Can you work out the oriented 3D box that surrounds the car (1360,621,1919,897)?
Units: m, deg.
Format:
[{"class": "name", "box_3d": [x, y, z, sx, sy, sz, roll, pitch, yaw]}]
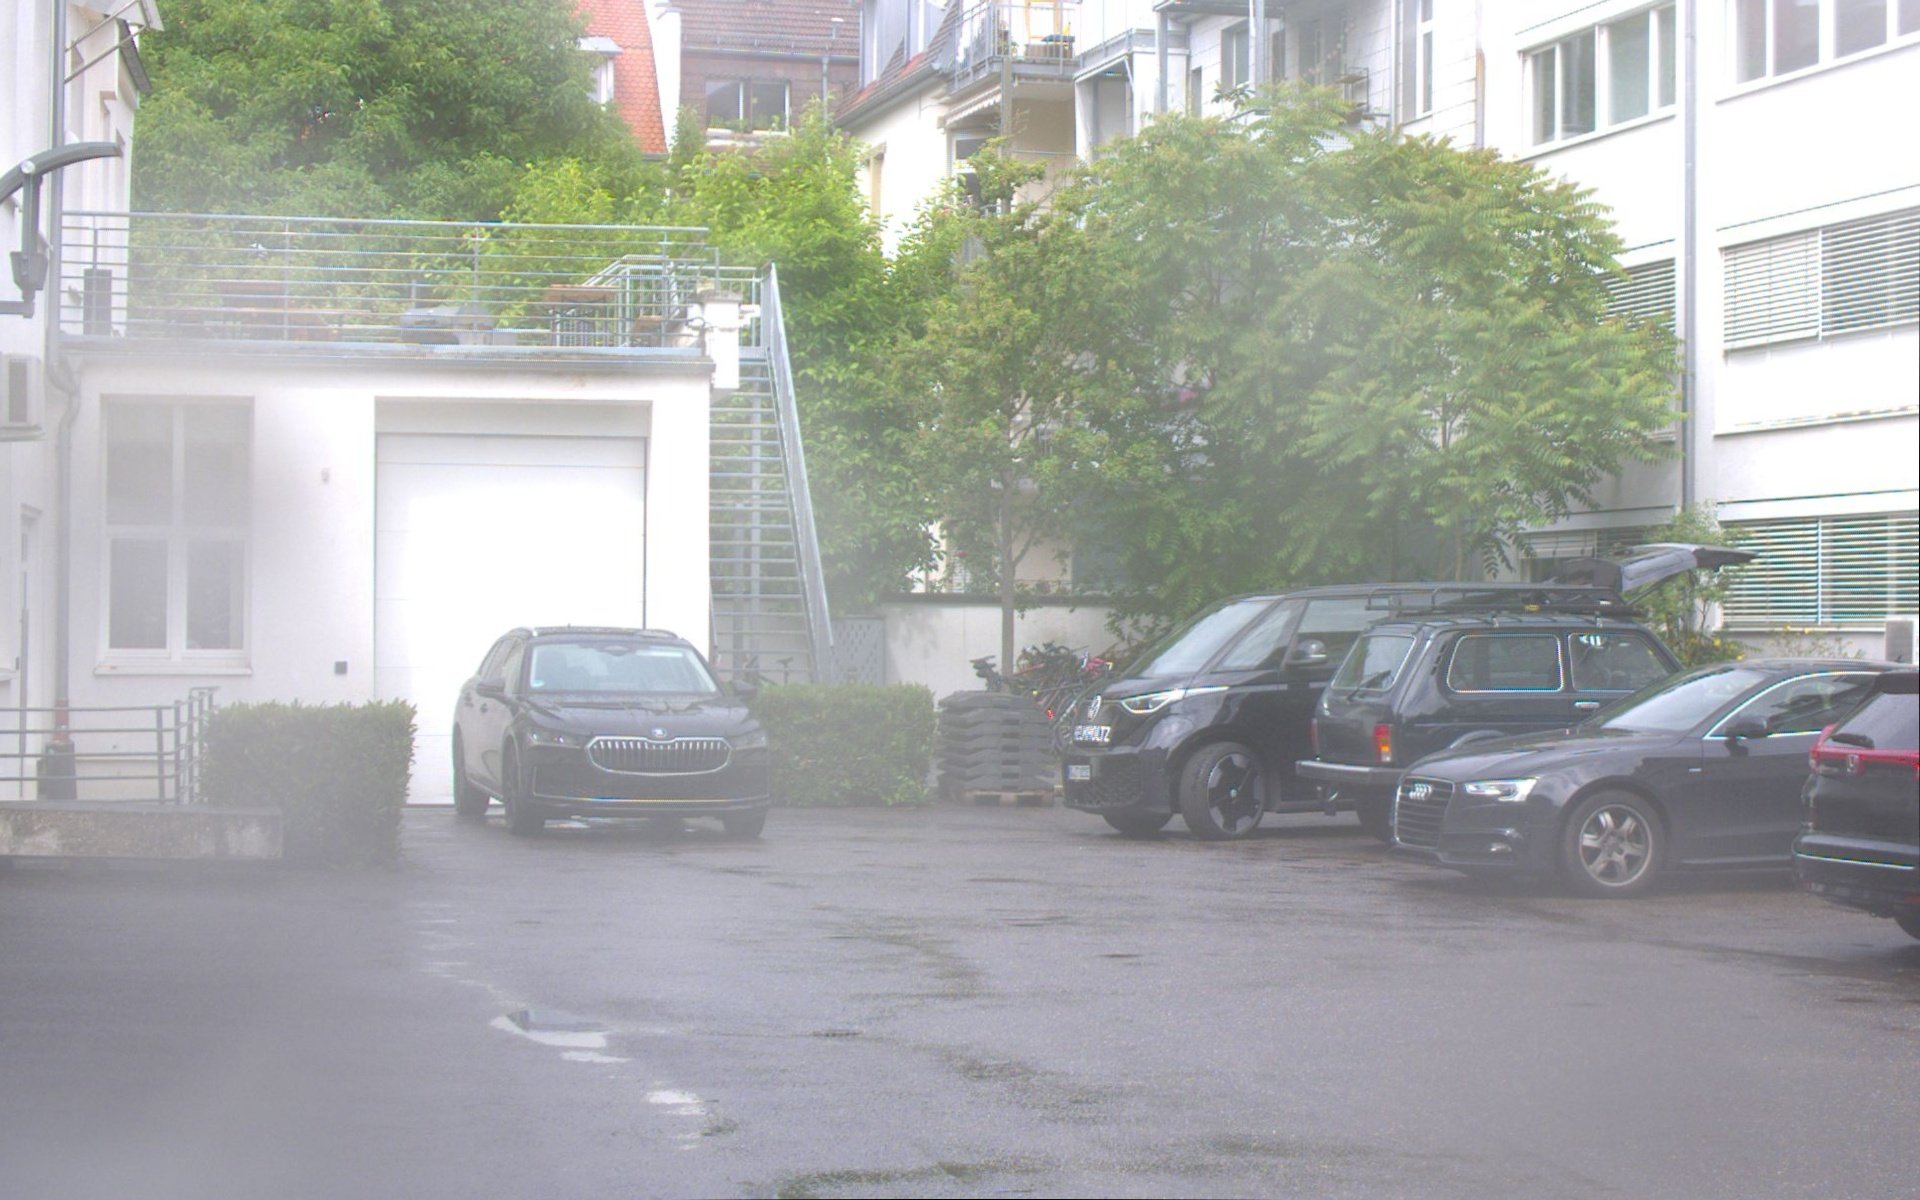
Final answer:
[{"class": "car", "box_3d": [4.573, 0.903, 20.699, 3.908, 1.508, 1.752, -1, -1, -15]}]

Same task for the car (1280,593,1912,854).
[{"class": "car", "box_3d": [4.388, 0.824, 23.979, 3.908, 1.682, 1.817, -1, -1, -12]}]

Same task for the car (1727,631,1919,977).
[{"class": "car", "box_3d": [5.854, 0.885, 16.332, 3.908, 1.508, 1.820, -1, -1, -17]}]

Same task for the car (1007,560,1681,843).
[{"class": "car", "box_3d": [2.936, 0.713, 26.479, 4.634, 1.996, 2.226, -1, 0, -21]}]

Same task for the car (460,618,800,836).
[{"class": "car", "box_3d": [-2.499, 0.872, 25.140, 1.978, 1.439, 4.001, 1, 0, -13]}]
